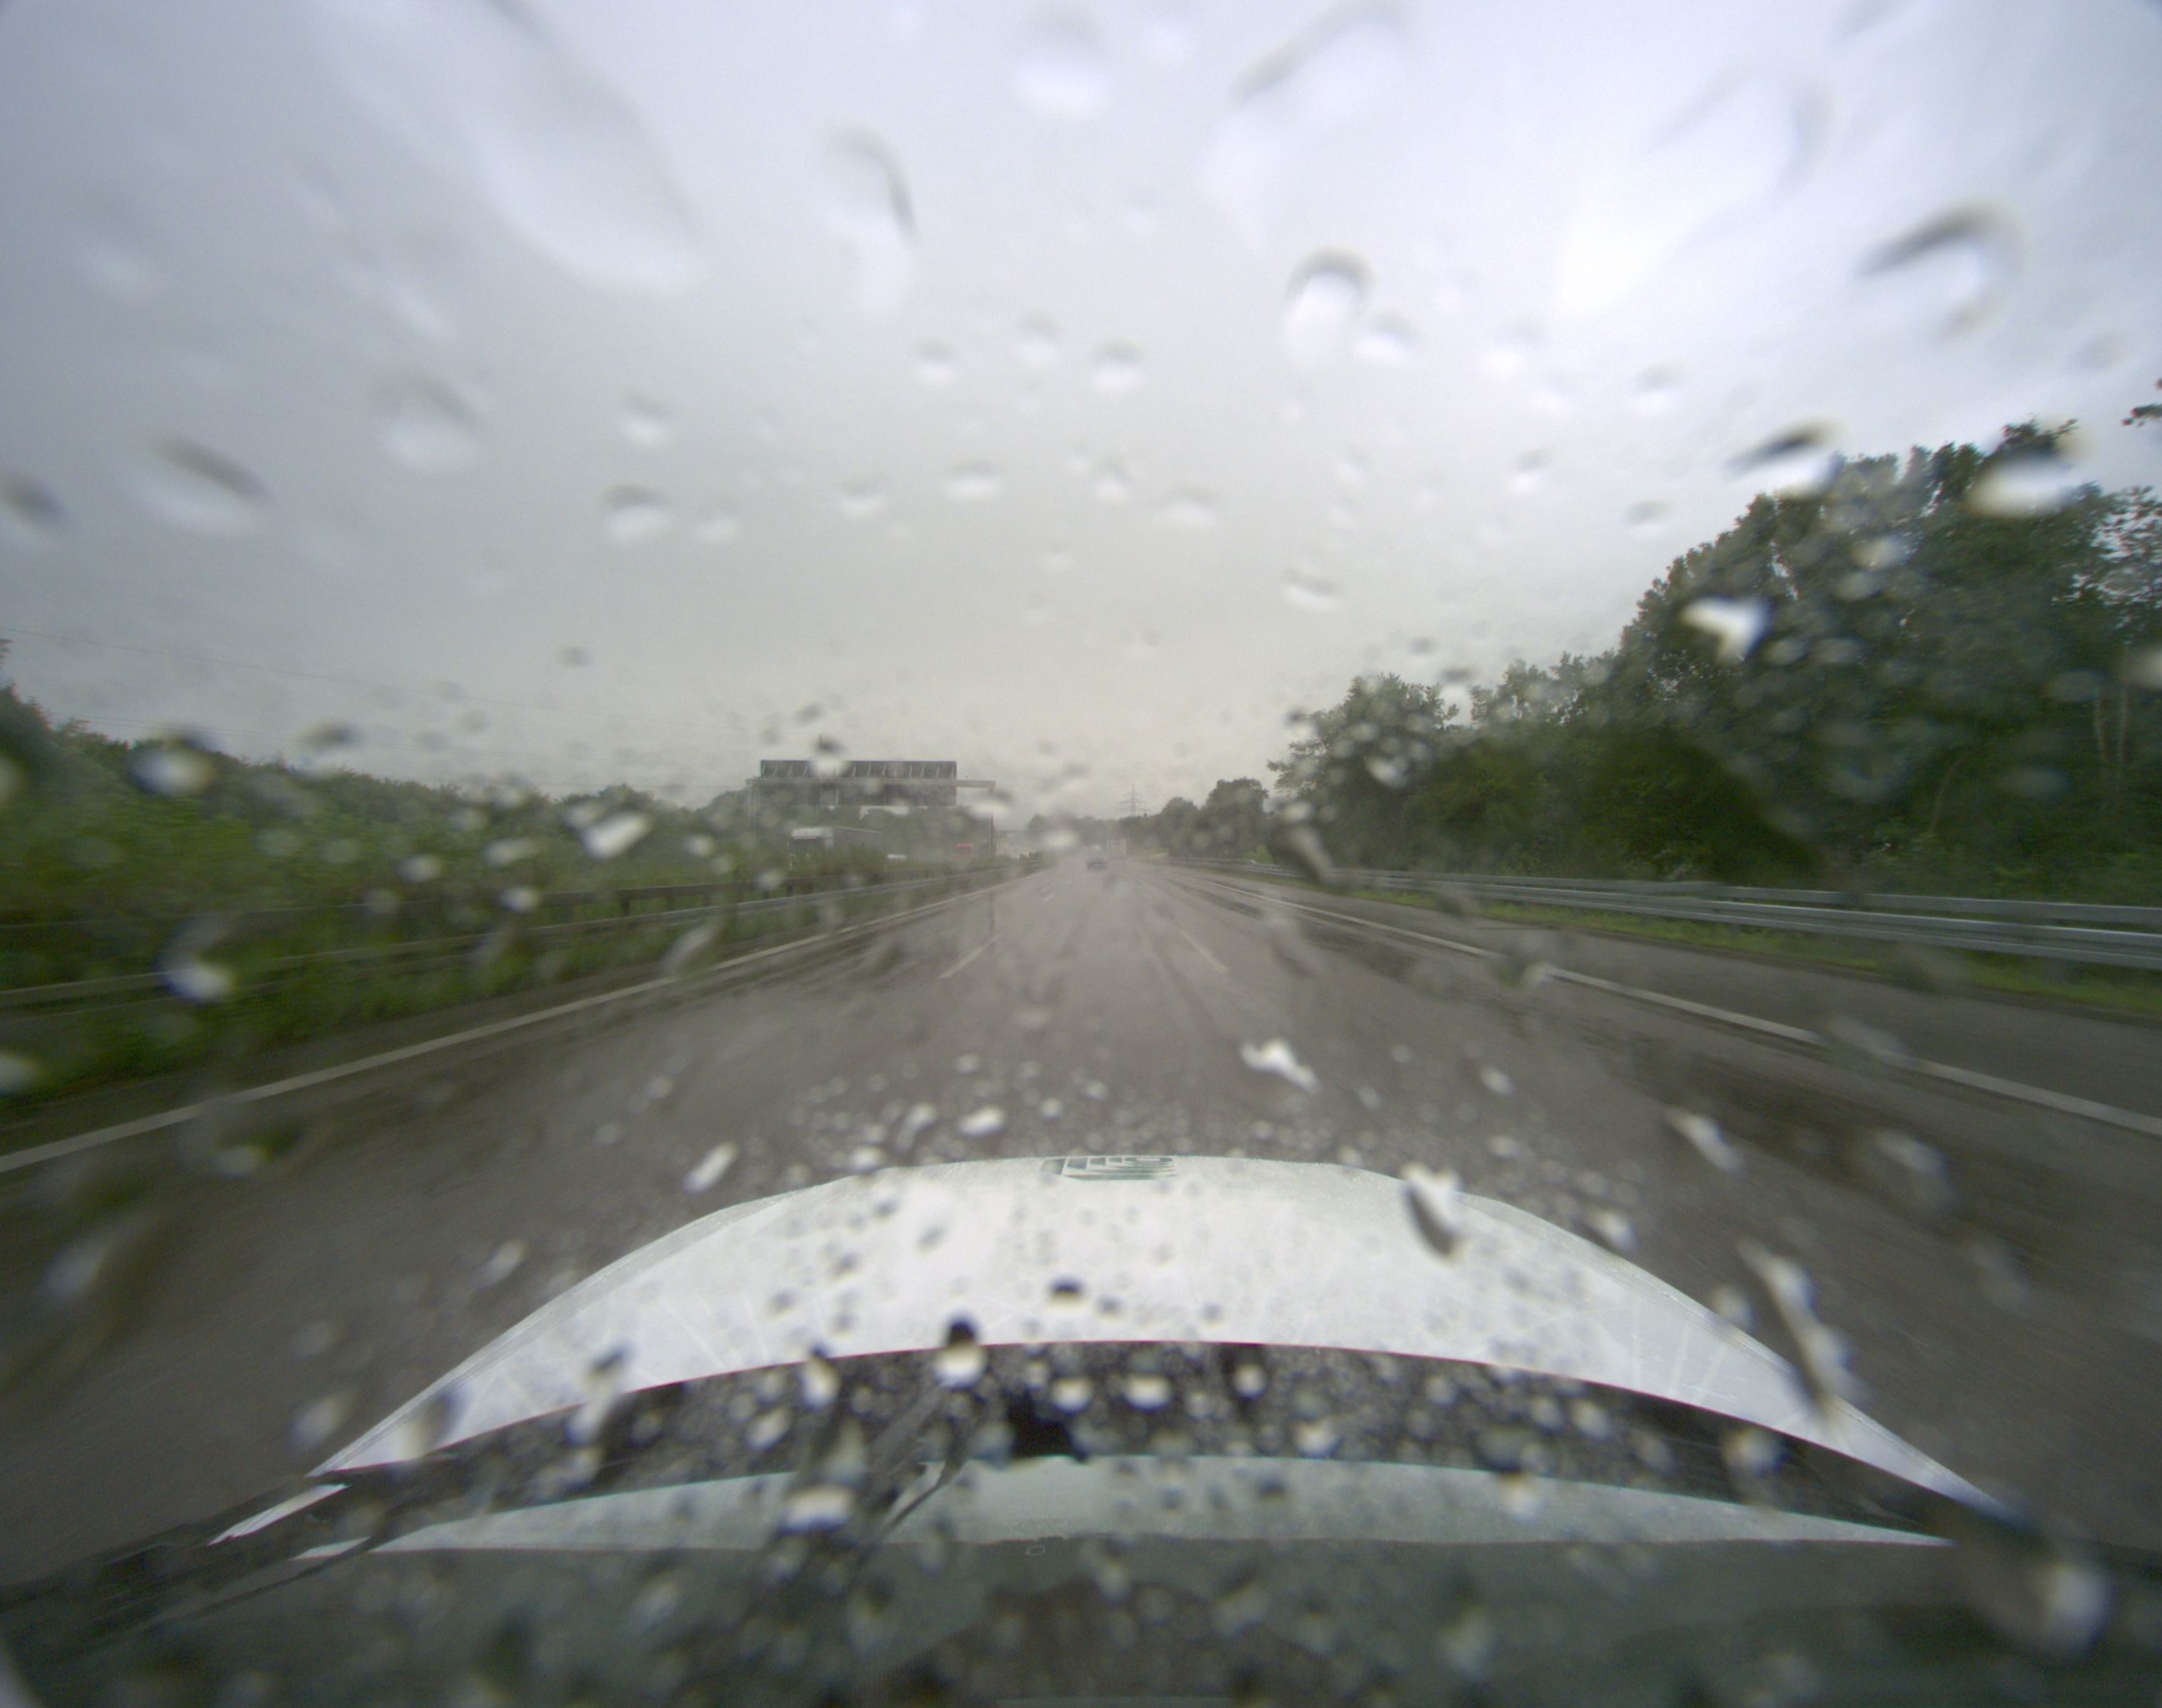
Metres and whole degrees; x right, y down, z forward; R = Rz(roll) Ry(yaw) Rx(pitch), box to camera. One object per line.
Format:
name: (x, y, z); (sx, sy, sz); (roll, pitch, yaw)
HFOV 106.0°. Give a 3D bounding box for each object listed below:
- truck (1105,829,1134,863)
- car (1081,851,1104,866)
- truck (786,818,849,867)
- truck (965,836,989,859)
truck: (6.135, -1.314, 130.826); (4.239, 4.972, 17.352); (-2, 1, 3)
car: (1.034, 0.401, 69.984); (1.741, 1.212, 4.004); (2, 0, 3)
truck: (-19.244, -0.826, 59.819); (2.658, 3.417, 5.528); (1, 0, 1)
truck: (-17.852, -1.144, 140.072); (2.897, 3.720, 6.512); (2, 0, 2)
